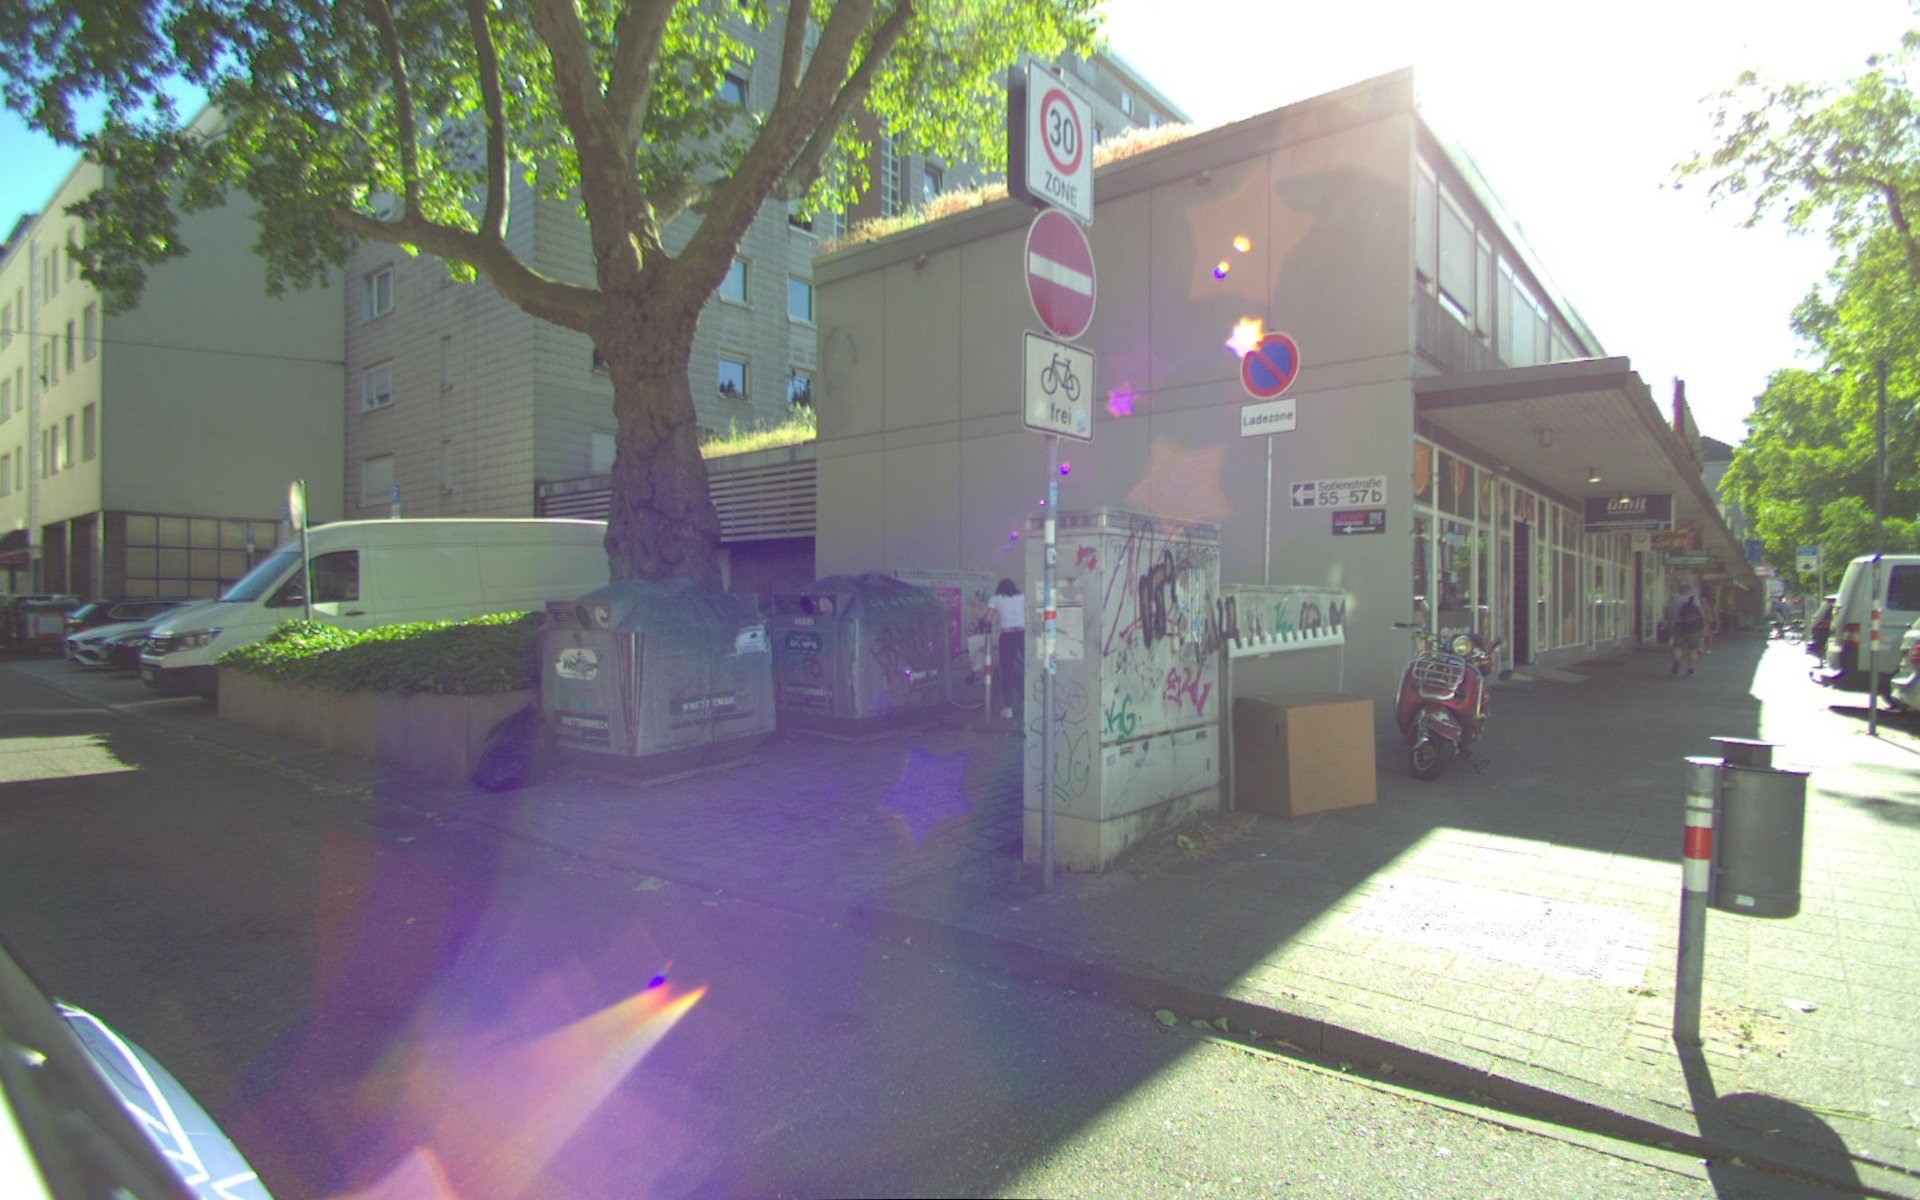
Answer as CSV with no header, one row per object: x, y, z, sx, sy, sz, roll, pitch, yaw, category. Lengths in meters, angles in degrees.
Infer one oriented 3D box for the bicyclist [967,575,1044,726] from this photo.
0.507,0.540,11.137,0.702,1.596,0.529,0,-1,25,bicyclist

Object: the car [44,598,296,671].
-18.295,0.754,23.656,1.694,1.545,4.368,-1,-1,33,car

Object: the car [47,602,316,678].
-16.749,0.802,22.005,1.595,1.474,4.368,-1,-1,33,car

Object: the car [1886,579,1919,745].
11.503,0.601,9.291,4.299,1.625,1.735,0,-1,39,car

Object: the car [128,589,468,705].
-10.703,0.660,16.660,1.697,1.545,4.361,0,2,39,car

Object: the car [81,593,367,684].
-14.644,0.707,20.405,1.694,1.629,4.368,0,0,33,car

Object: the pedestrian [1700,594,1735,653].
20.024,0.612,26.757,0.689,1.533,0.525,1,1,41,pedestrian

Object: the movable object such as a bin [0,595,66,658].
-23.272,0.648,25.244,1.515,1.512,1.207,0,-1,38,movable object such as a bin

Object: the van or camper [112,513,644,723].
-8.530,0.070,15.745,1.999,2.593,6.836,-1,2,40,van or camper

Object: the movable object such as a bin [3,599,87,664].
-22.082,0.736,24.422,1.193,1.512,1.312,0,-1,38,movable object such as a bin

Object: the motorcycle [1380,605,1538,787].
3.898,0.659,7.820,0.669,1.189,1.896,0,1,40,motorcycle

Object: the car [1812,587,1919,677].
20.636,0.664,20.867,4.637,1.818,1.813,0,0,39,car

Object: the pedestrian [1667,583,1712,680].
13.118,0.551,18.191,0.566,1.678,0.702,1,1,41,pedestrian

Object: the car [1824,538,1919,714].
12.938,0.346,11.400,4.739,2.021,1.934,2,0,38,car

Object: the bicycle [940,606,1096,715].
0.680,0.679,11.502,1.698,1.162,0.803,-1,1,9,bicycle

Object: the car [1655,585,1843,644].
28.180,0.482,36.312,5.224,1.996,1.640,0,0,39,car
